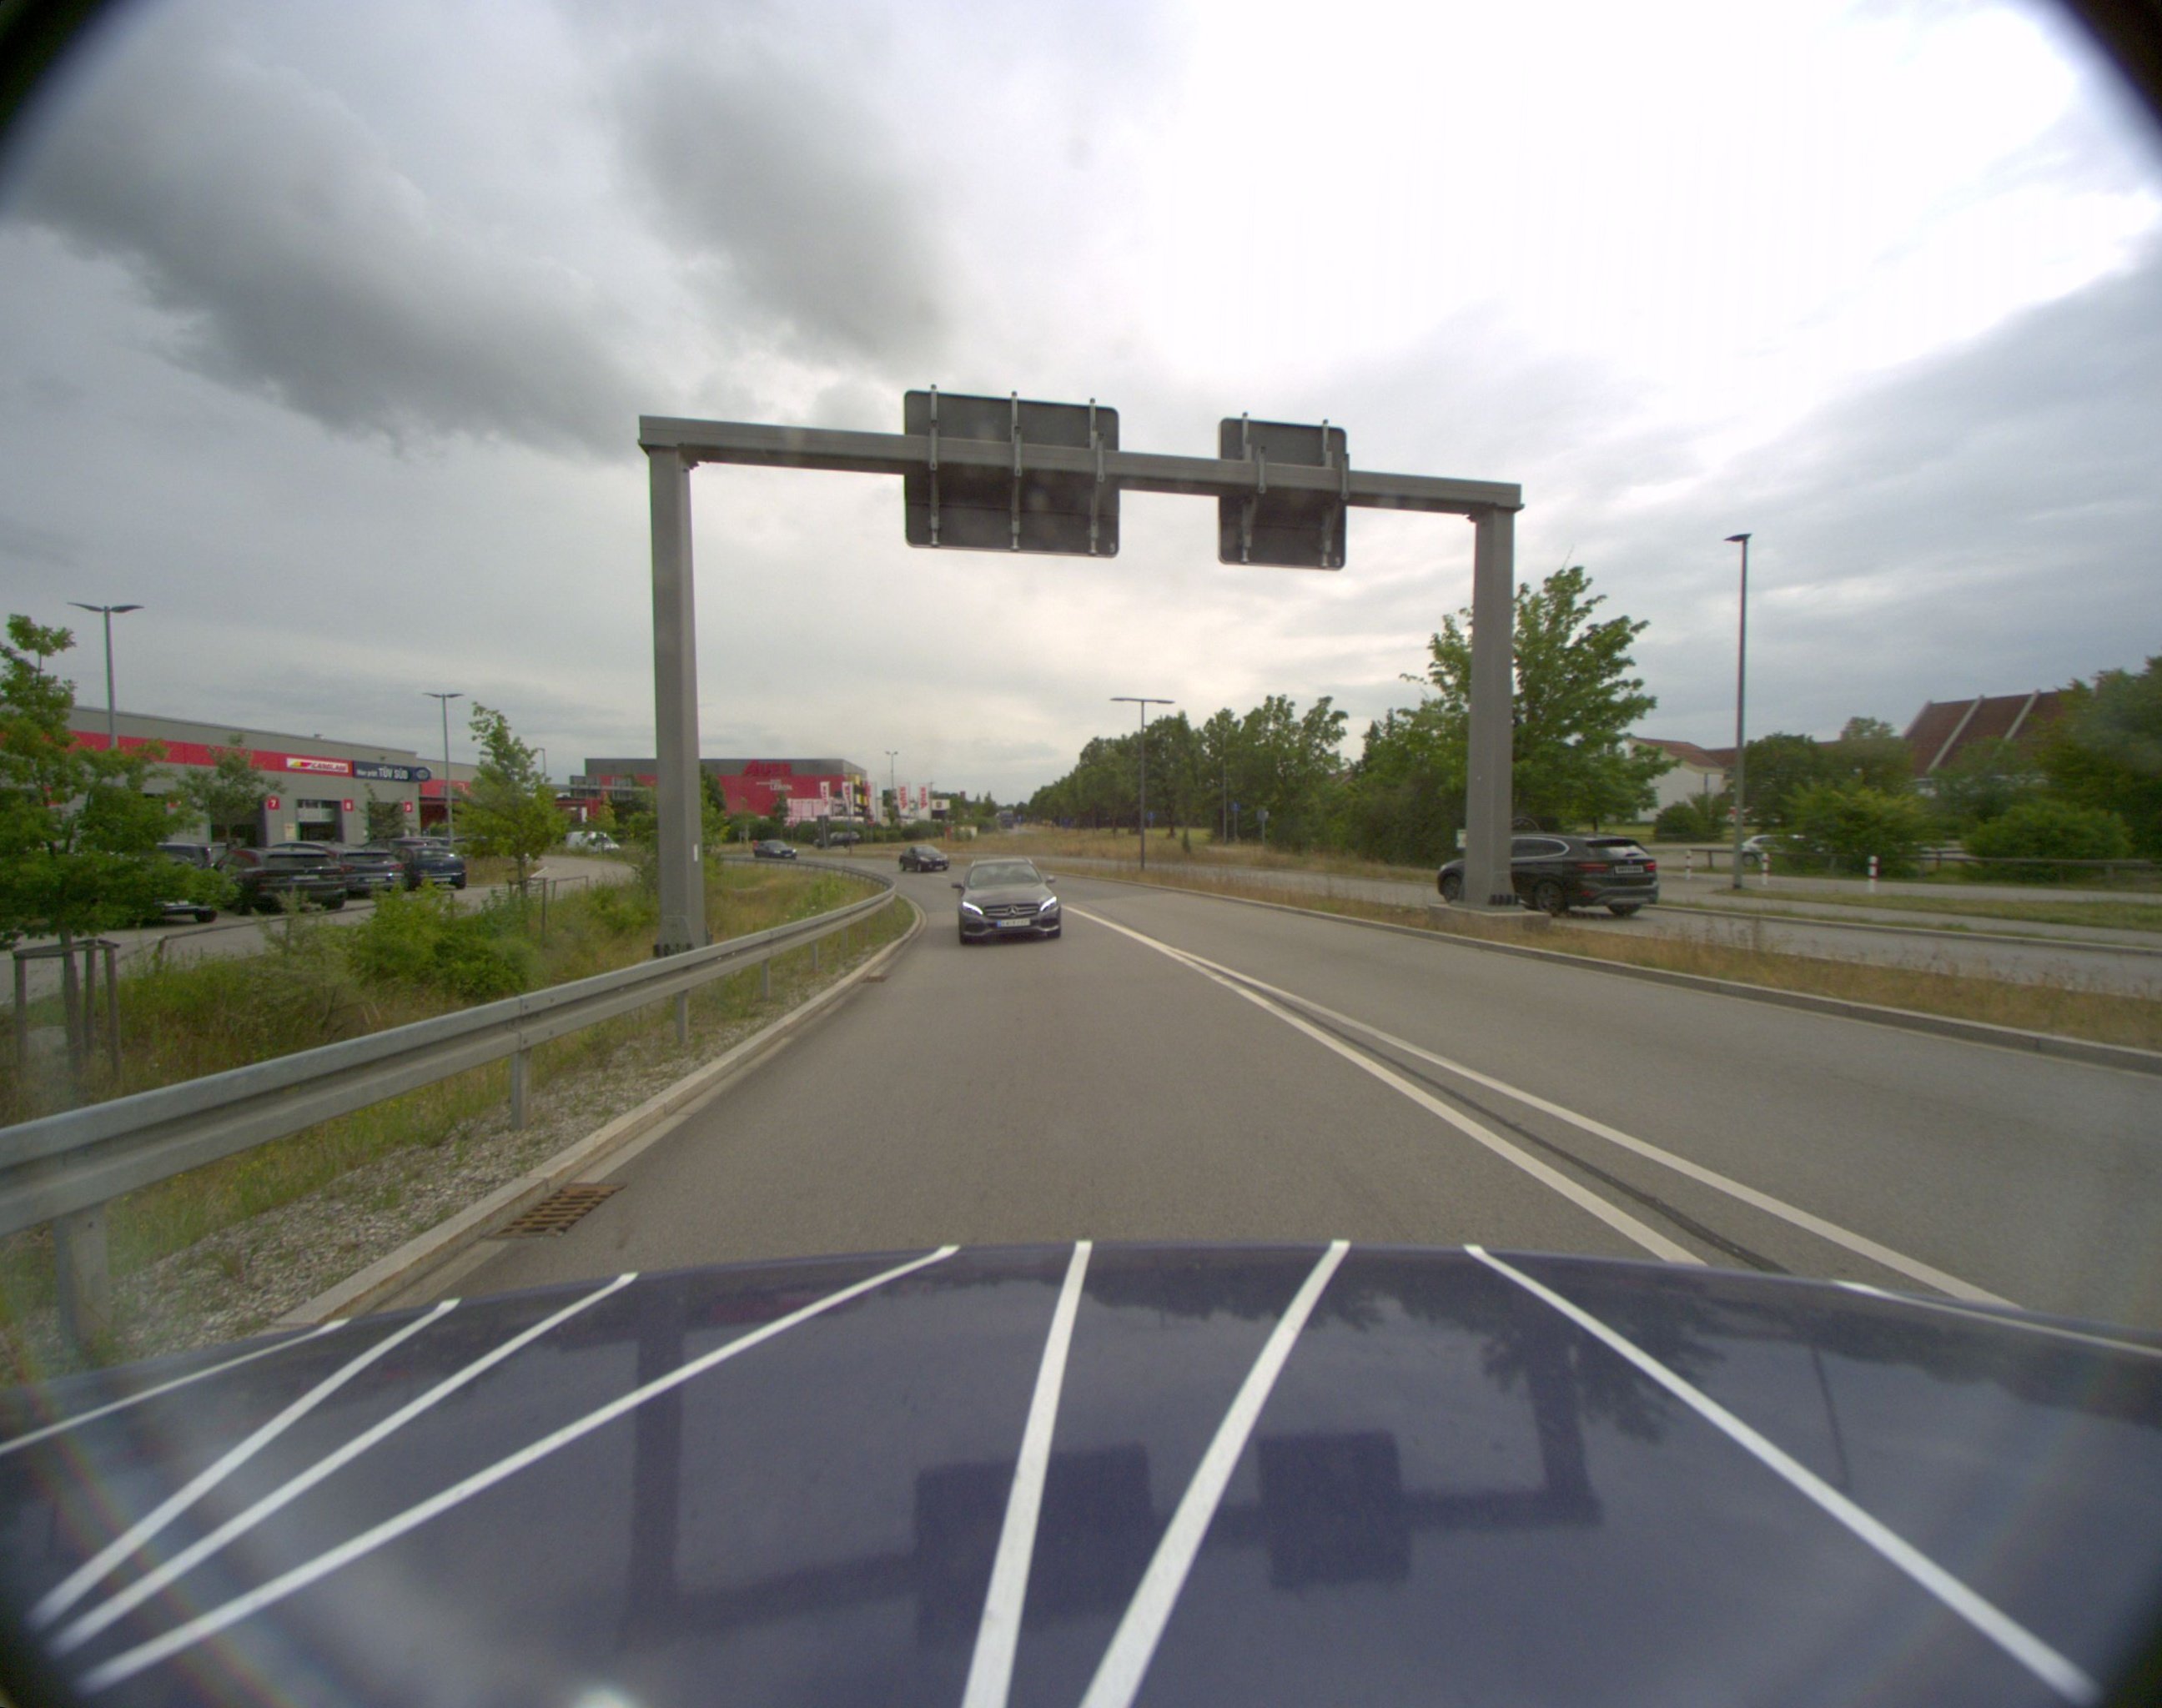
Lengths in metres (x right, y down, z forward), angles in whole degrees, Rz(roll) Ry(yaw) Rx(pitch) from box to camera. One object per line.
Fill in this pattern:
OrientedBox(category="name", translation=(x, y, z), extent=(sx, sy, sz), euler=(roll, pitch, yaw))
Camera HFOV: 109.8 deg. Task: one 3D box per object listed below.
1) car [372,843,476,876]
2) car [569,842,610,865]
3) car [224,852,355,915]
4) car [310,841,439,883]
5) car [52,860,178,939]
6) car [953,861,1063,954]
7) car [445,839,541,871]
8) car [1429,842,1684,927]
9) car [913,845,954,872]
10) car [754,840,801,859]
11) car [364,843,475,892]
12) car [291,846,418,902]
OrientedBox(category="car", translation=(-30.981, 0.231, 35.915), extent=(3.324, 1.316, 1.479), euler=(-3, 3, -13))
OrientedBox(category="car", translation=(-35.850, -0.020, 55.346), extent=(3.689, 1.536, 1.593), euler=(0, 4, 44))
OrientedBox(category="car", translation=(-22.268, 0.792, 21.339), extent=(4.066, 1.613, 1.740), euler=(-1, 0, 32))
OrientedBox(category="car", translation=(-30.577, 0.325, 32.997), extent=(3.700, 1.536, 1.588), euler=(-3, 3, -13))
OrientedBox(category="car", translation=(-22.535, 0.991, 17.721), extent=(4.065, 1.613, 1.654), euler=(-1, 1, 37))
OrientedBox(category="car", translation=(-1.536, 0.906, 14.829), extent=(1.766, 1.412, 4.087), euler=(-4, 1, -9))
OrientedBox(category="car", translation=(-32.121, 0.032, 41.611), extent=(3.700, 1.536, 1.588), euler=(-3, 3, -13))
OrientedBox(category="car", translation=(9.234, 0.489, 15.260), extent=(1.893, 1.458, 4.276), euler=(0, 1, -12))
OrientedBox(category="car", translation=(-8.565, 0.248, 43.945), extent=(1.767, 1.311, 3.951), euler=(-3, 3, -18))
OrientedBox(category="car", translation=(-24.345, -0.388, 60.848), extent=(1.864, 1.404, 4.543), euler=(-5, 4, -43))
OrientedBox(category="car", translation=(-24.337, 0.433, 27.936), extent=(4.065, 1.613, 1.740), euler=(2, 2, 28))
OrientedBox(category="car", translation=(-23.983, 0.593, 25.076), extent=(4.065, 1.613, 1.832), euler=(2, 2, 28))
